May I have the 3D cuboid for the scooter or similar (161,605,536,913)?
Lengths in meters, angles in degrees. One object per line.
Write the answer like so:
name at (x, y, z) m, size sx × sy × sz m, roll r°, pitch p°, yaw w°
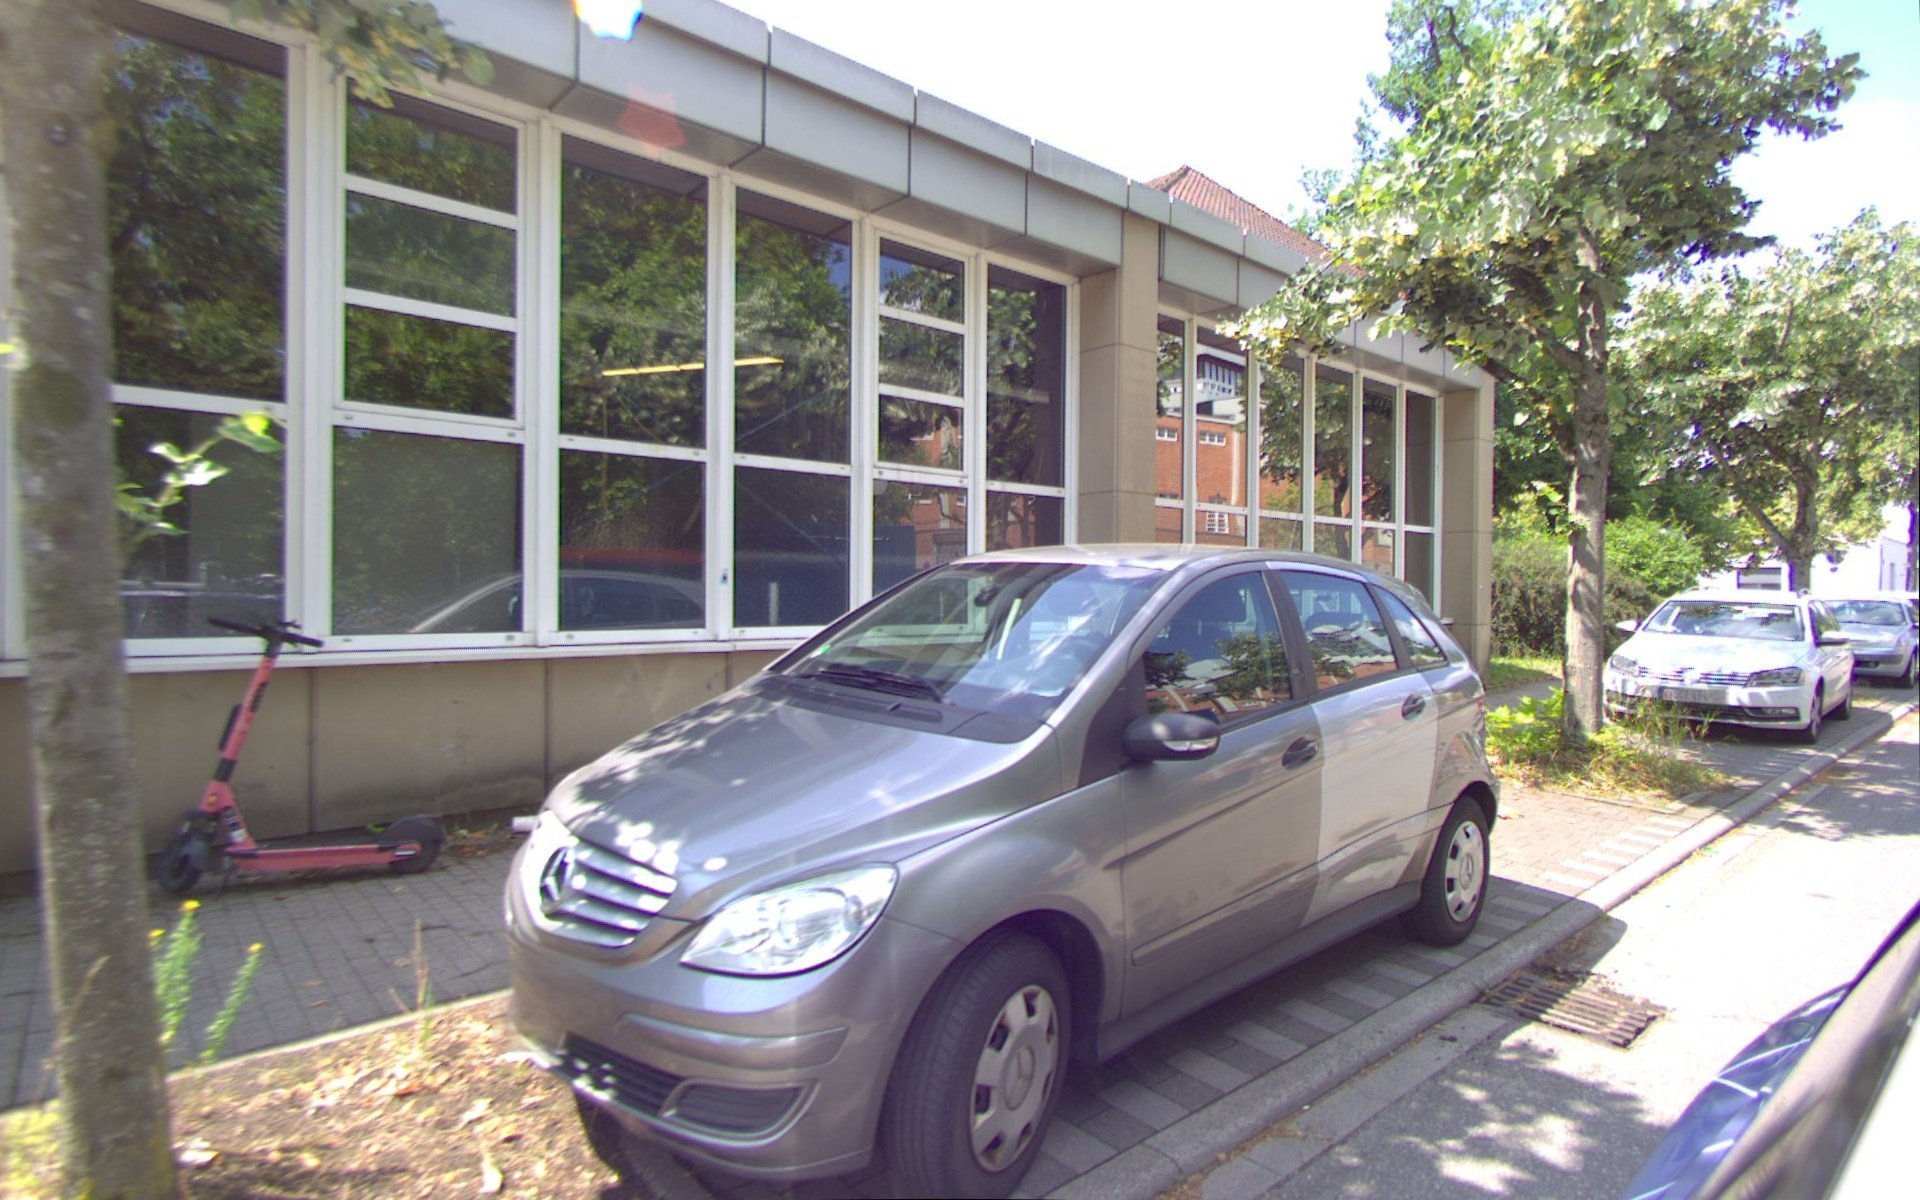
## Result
scooter or similar at (-2.835, 0.658, 4.786) m, size 1.467 × 1.232 × 0.416 m, roll 0°, pitch 2°, yaw -41°

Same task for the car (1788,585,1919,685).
car at (14.979, 0.485, 16.538) m, size 3.920 × 1.408 × 1.649 m, roll -1°, pitch 2°, yaw -42°

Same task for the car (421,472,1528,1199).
car at (0.454, 0.529, 3.772) m, size 4.070 × 1.593 × 1.706 m, roll -1°, pitch 2°, yaw -43°

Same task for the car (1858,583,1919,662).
car at (19.585, 0.410, 20.628) m, size 3.922 × 1.484 × 1.589 m, roll -1°, pitch 2°, yaw -43°

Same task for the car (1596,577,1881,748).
car at (8.693, 0.525, 11.135) m, size 4.593 × 1.485 × 1.728 m, roll 0°, pitch 2°, yaw -43°

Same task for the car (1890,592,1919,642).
car at (26.409, 0.435, 27.121) m, size 3.929 × 1.296 × 1.711 m, roll 0°, pitch 1°, yaw -40°
